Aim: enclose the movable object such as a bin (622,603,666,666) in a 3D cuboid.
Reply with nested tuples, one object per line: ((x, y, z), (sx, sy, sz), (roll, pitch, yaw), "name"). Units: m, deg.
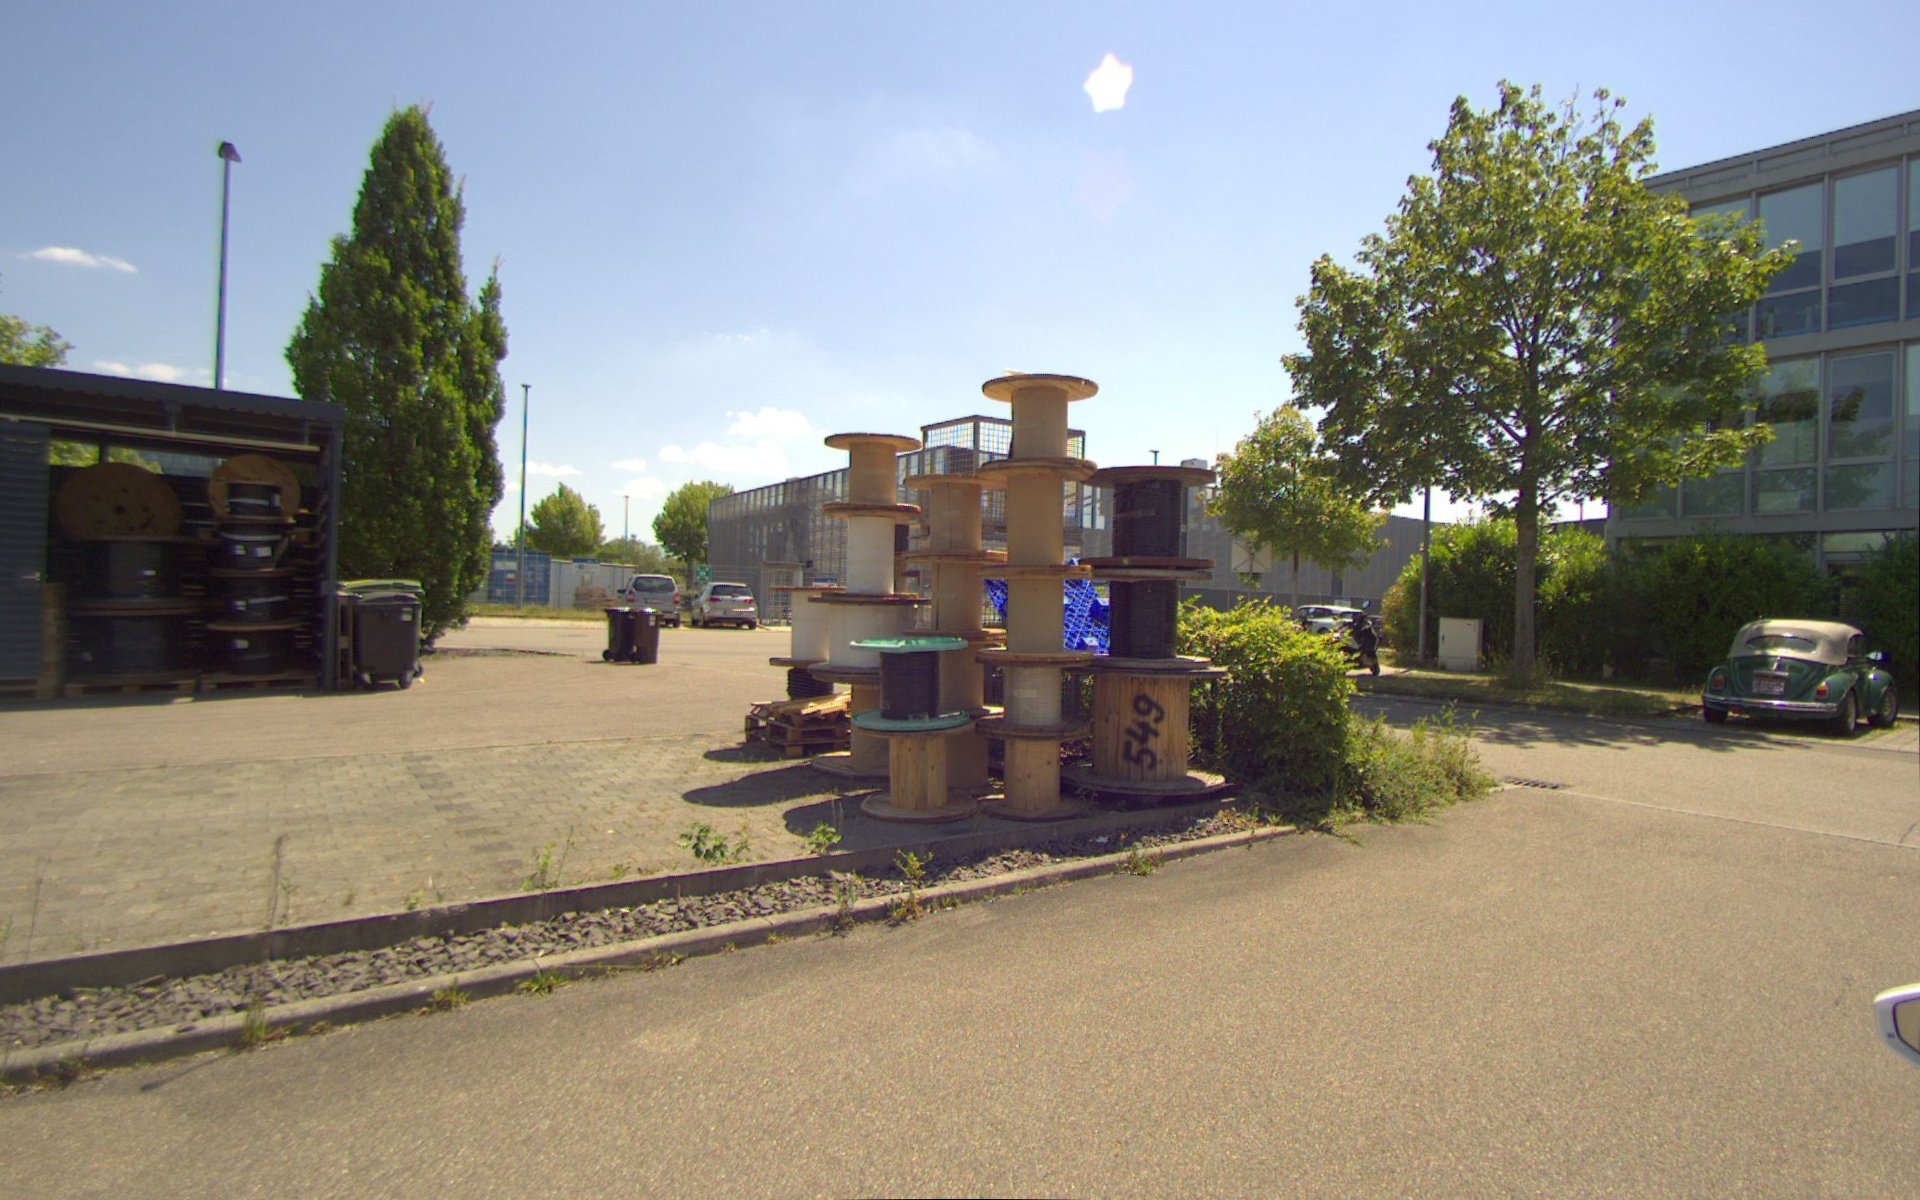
((-5.437, 0.581, 17.280), (0.567, 1.050, 0.425), (2, 0, 21), "movable object such as a bin")

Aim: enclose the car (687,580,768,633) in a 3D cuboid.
((-7.665, 0.180, 32.910), (1.971, 1.511, 3.979), (3, 0, -21), "car")

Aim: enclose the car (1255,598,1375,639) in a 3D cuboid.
((14.494, 0.721, 41.340), (1.971, 1.511, 4.830), (1, 1, -21), "car")

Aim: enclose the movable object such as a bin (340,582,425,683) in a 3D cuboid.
((-8.001, 0.438, 13.941), (0.962, 1.347, 0.704), (2, 0, -30), "movable object such as a bin")

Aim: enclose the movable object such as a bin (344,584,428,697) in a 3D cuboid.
((-7.278, 0.502, 12.757), (0.874, 1.362, 0.807), (2, 0, -30), "movable object such as a bin")

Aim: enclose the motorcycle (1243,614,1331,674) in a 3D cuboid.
((6.663, 0.876, 20.419), (1.939, 1.153, 0.708), (1, 0, -37), "motorcycle")

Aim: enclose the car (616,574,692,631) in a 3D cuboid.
((-9.881, 0.046, 32.247), (1.971, 1.611, 3.979), (3, 0, -21), "car")

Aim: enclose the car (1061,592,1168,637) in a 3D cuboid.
((5.660, 0.518, 37.405), (1.971, 1.511, 4.491), (1, 1, -21), "car")

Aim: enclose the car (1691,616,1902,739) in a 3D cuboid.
((11.836, 0.989, 14.150), (3.621, 1.468, 1.530), (1, 1, -38), "car")

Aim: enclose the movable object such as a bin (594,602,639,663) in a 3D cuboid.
((-5.979, 0.560, 17.501), (0.570, 1.041, 0.425), (2, 0, 21), "movable object such as a bin")

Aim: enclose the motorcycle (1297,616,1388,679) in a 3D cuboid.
((7.389, 0.896, 19.384), (1.939, 1.153, 0.708), (1, 0, -37), "motorcycle")

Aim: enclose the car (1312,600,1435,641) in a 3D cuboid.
((17.188, 0.806, 42.045), (1.971, 1.511, 4.830), (1, 1, -21), "car")
